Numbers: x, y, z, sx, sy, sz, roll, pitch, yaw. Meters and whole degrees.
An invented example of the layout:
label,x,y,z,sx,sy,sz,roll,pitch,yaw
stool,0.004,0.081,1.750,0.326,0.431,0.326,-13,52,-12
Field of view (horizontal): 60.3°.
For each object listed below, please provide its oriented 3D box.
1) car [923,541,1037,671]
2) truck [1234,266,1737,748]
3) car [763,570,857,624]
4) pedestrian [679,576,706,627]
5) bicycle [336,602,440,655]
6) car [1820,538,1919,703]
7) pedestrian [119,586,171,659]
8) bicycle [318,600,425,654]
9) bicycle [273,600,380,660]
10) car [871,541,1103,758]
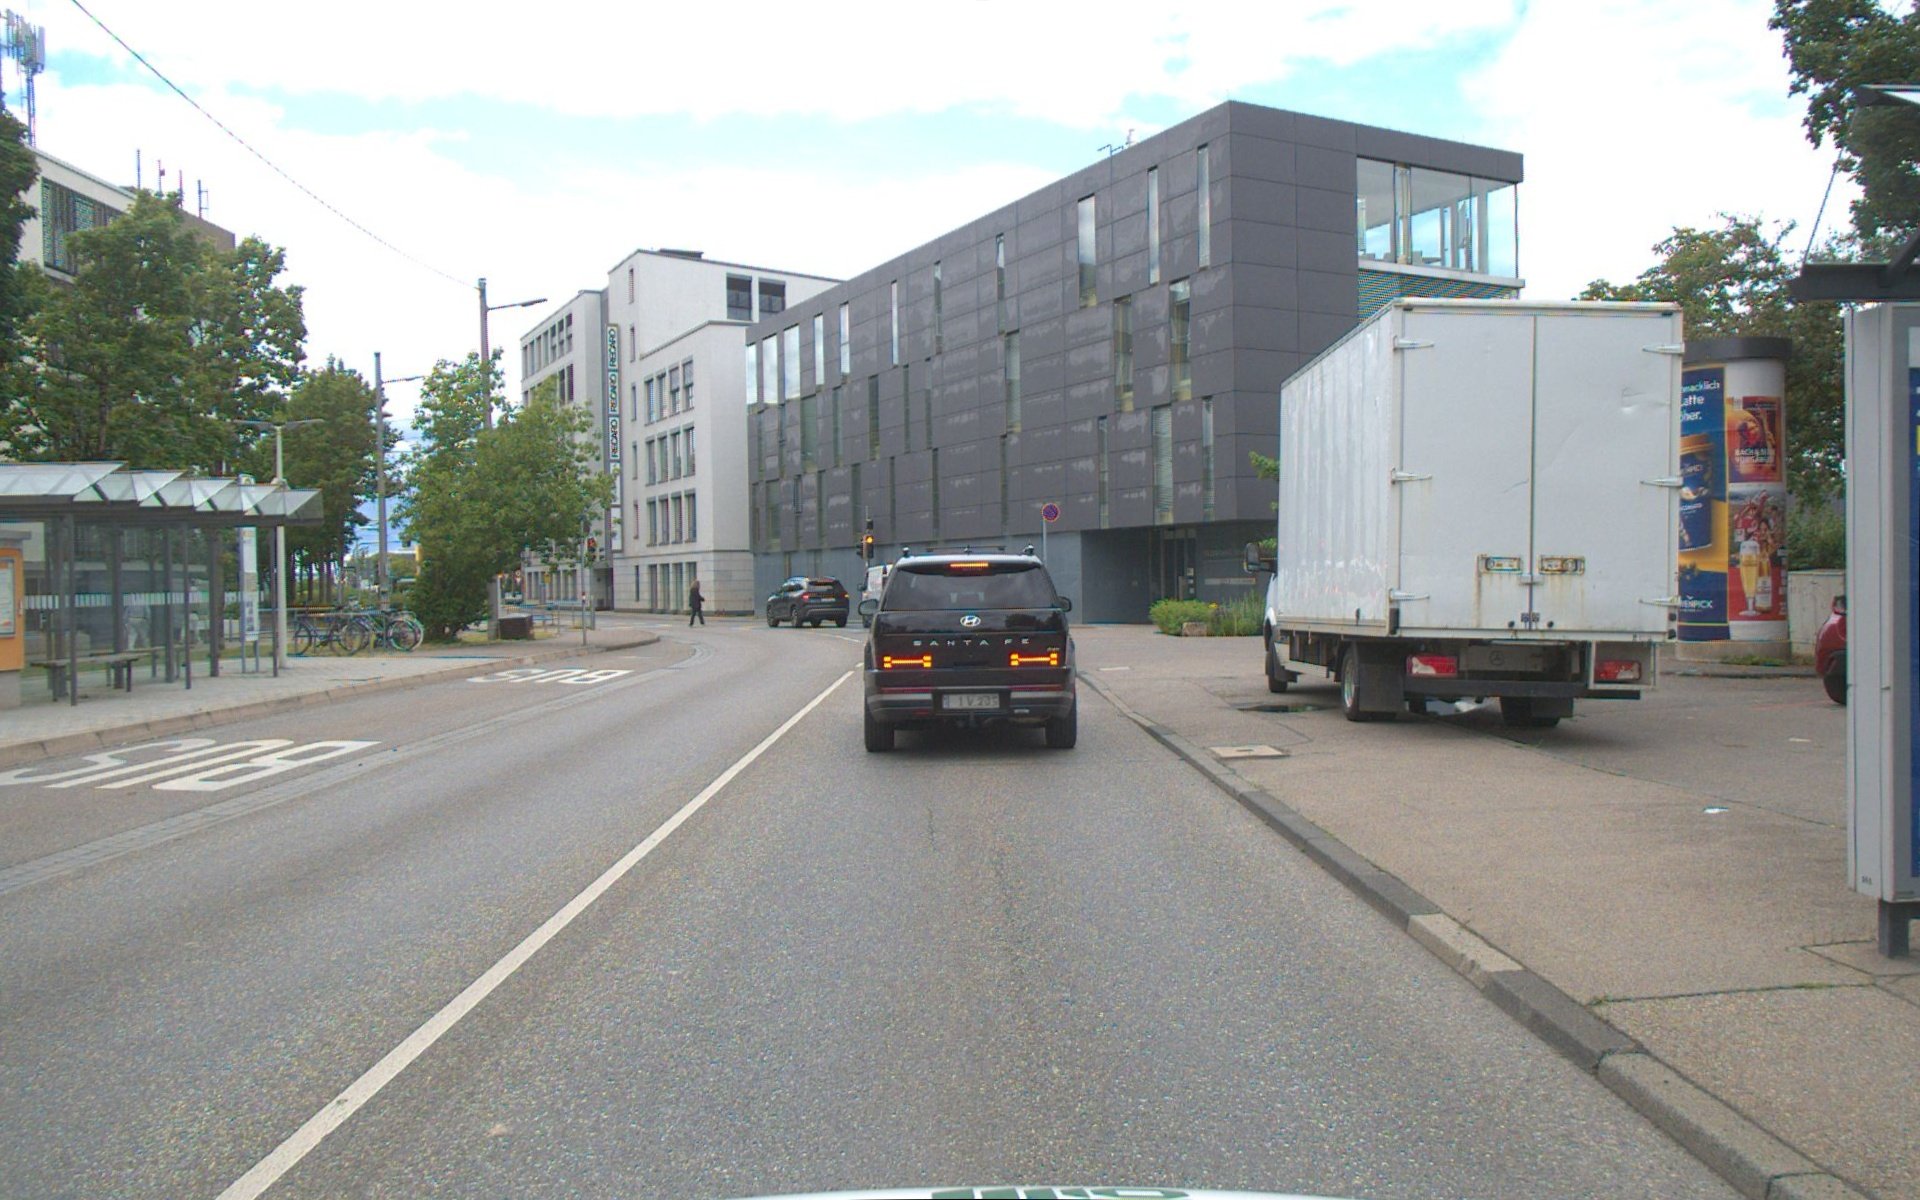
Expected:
label,x,y,z,sx,sy,sz,roll,pitch,yaw
car,0.405,0.048,29.225,1.817,2.069,4.439,-2,1,2
truck,4.636,-0.760,16.456,2.520,3.586,7.811,-2,1,1
car,-5.152,-0.083,56.213,1.824,1.706,4.341,-3,0,-24
pedestrian,-9.865,0.051,60.972,0.922,1.832,0.589,-2,0,-12
bicycle,-12.501,0.624,36.184,2.055,1.125,0.631,0,0,1
car,10.057,0.179,15.805,3.454,1.480,1.664,0,0,-29
pedestrian,-20.444,0.563,41.494,0.813,1.795,0.906,1,0,0
bicycle,-12.607,0.572,35.460,2.056,1.125,0.631,0,0,0
bicycle,-12.738,0.599,33.275,1.889,1.125,0.587,-2,0,0
car,0.114,0.374,15.494,1.877,1.755,4.168,0,1,-3
